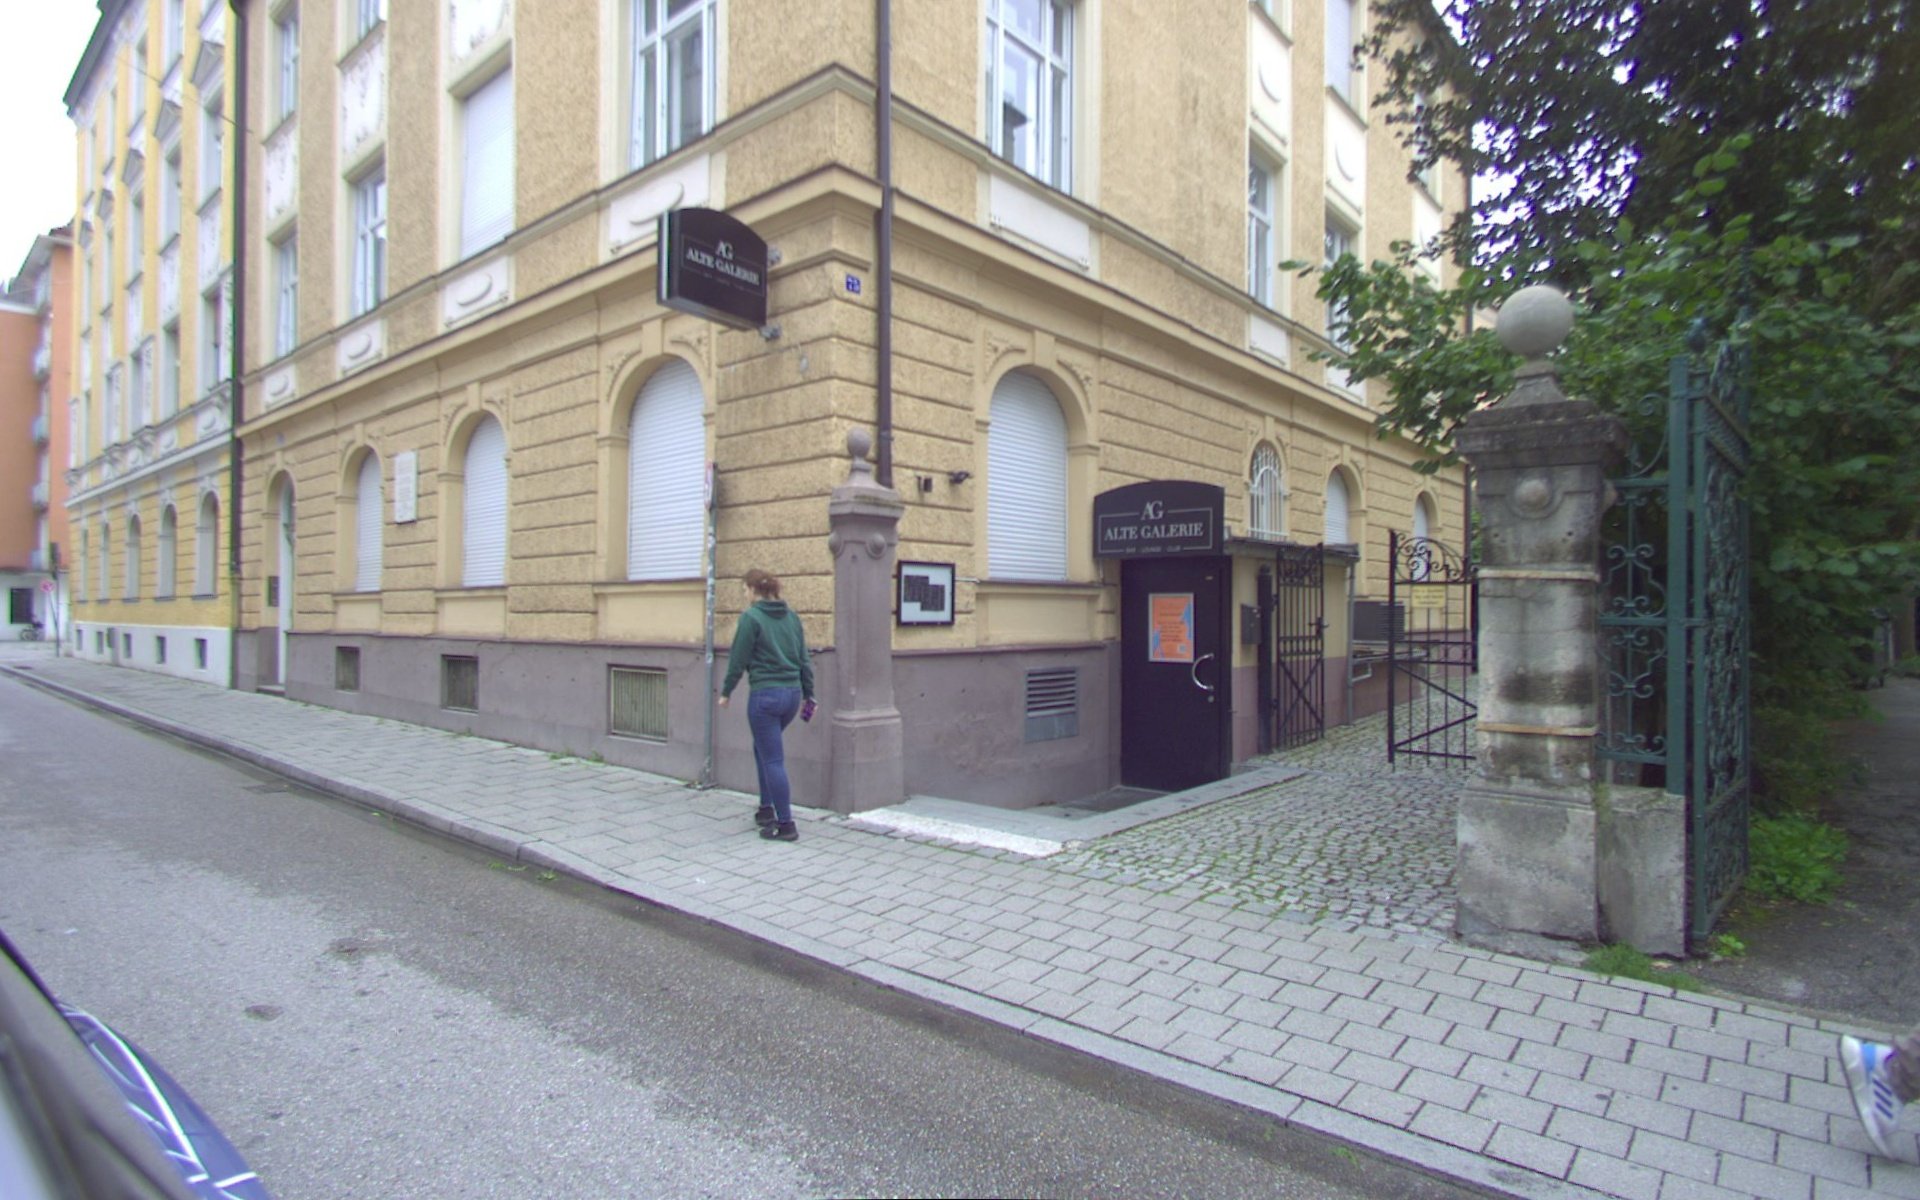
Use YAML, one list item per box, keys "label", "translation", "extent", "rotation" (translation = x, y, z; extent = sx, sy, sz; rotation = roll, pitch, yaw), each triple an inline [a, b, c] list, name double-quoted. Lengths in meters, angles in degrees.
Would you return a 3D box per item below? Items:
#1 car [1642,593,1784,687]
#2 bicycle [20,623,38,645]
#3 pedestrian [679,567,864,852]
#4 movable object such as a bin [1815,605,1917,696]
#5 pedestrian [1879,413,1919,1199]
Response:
- label: "car"
  translation: [14.747, 0.698, 19.751]
  extent: [3.677, 1.552, 1.636]
  rotation: [-3, 1, -44]
- label: "bicycle"
  translation: [-39.080, 1.421, 42.465]
  extent: [1.539, 0.944, 0.386]
  rotation: [-1, -2, 42]
- label: "pedestrian"
  translation: [-1.217, 0.644, 6.533]
  extent: [0.929, 1.678, 0.705]
  rotation: [-1, 1, 41]
- label: "movable object such as a bin"
  translation: [14.916, 0.804, 16.657]
  extent: [1.209, 1.414, 1.109]
  rotation: [1, -2, -42]
- label: "pedestrian"
  translation: [2.827, 0.496, 2.281]
  extent: [1.076, 1.868, 0.749]
  rotation: [-1, 0, 41]
